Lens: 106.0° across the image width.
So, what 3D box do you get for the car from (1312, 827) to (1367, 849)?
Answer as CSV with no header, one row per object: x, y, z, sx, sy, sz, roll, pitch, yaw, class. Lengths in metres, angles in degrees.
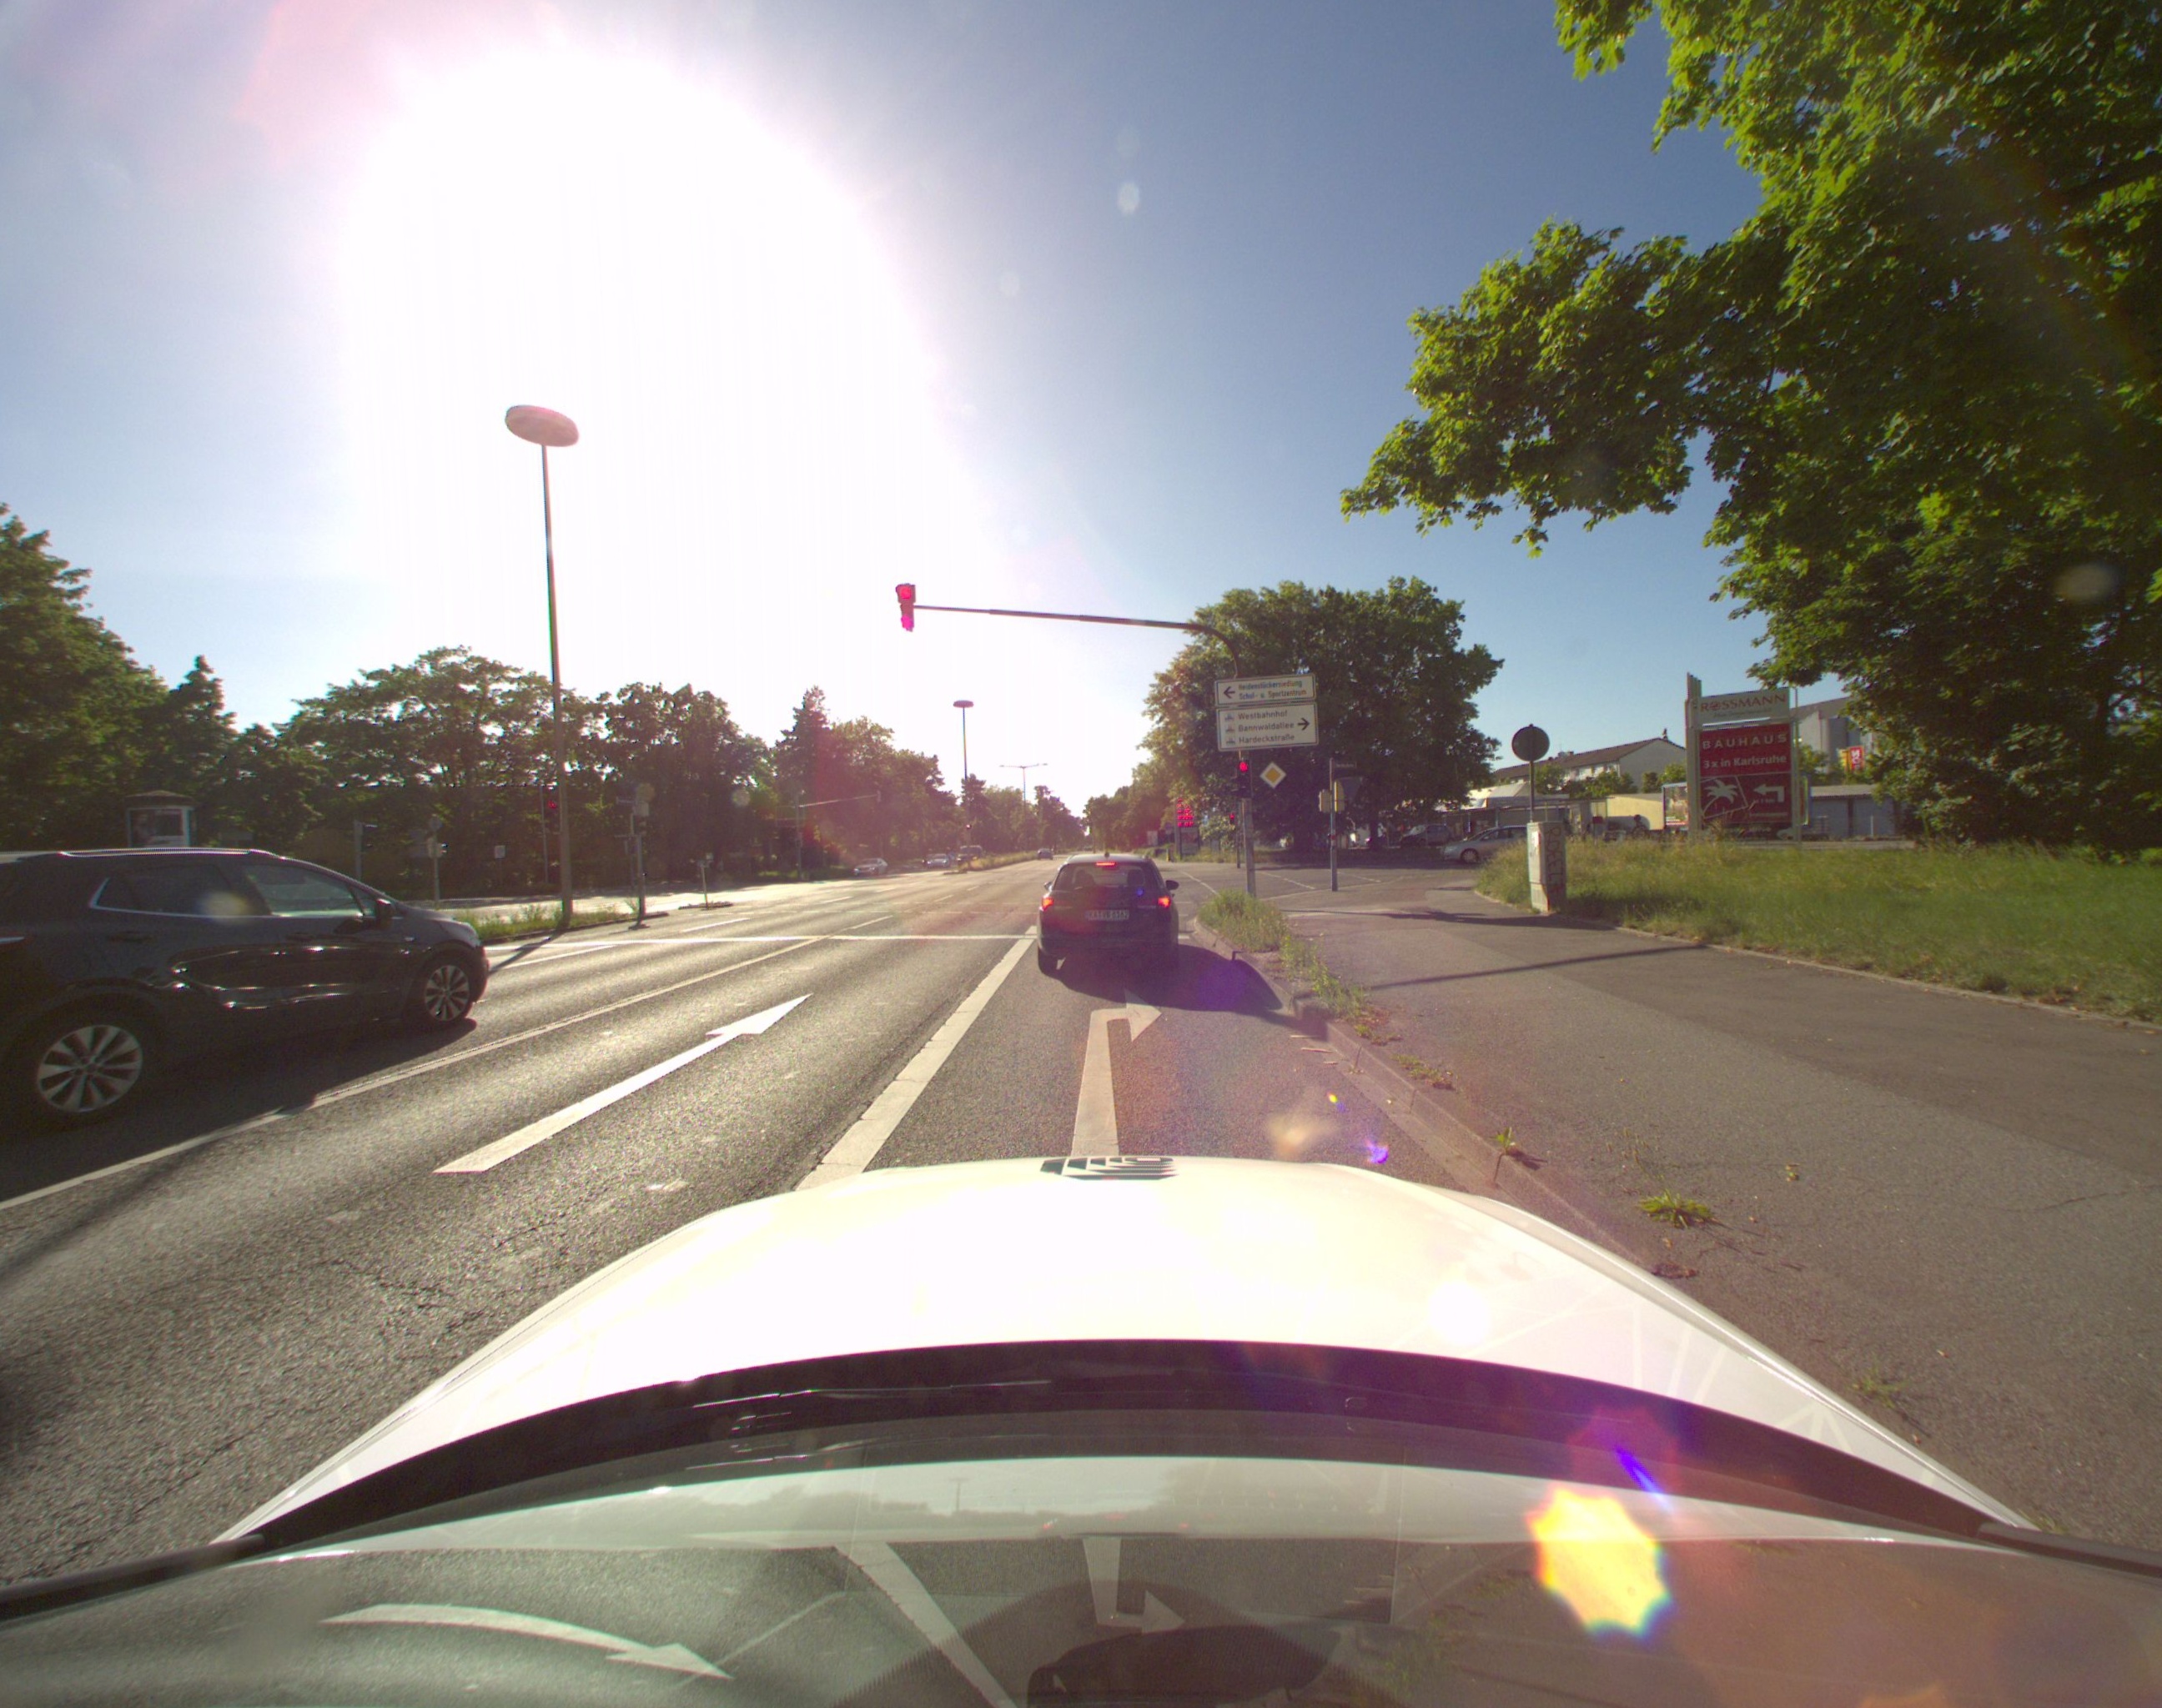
19.333,-1.188,60.910,3.860,1.563,1.787,0,0,-31,car

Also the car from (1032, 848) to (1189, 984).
0.388,0.709,11.182,1.749,1.509,3.809,-1,0,1,car

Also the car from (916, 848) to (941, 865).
-17.624,0.295,94.293,1.986,1.749,4.002,-5,1,1,car

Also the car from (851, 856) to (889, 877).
-17.331,0.980,67.146,1.857,1.684,4.262,0,0,2,car

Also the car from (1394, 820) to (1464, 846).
22.175,-1.300,51.912,3.846,1.611,1.794,0,0,-18,car

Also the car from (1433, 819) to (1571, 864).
16.936,-0.493,32.987,4.587,1.574,2.007,-2,-1,12,car

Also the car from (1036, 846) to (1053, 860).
-4.527,-0.130,101.601,1.882,1.552,4.001,-2,0,1,car

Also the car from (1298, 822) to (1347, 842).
20.500,-1.875,69.141,3.701,1.685,1.703,0,0,-2,car

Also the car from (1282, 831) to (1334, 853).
17.675,-0.936,63.347,3.730,1.685,1.690,0,0,-25,car

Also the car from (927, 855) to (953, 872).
-14.132,0.934,81.817,1.857,1.684,4.001,0,0,2,car

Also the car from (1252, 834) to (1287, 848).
22.206,-1.512,96.047,3.701,1.685,1.703,0,0,-2,car

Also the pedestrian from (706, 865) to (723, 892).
-25.828,1.748,57.335,0.842,1.835,0.550,-3,0,5,pedestrian

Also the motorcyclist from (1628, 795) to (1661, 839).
21.928,-1.424,31.697,0.853,1.680,0.838,0,0,18,motorcyclist

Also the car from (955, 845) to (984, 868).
-10.119,0.247,74.296,1.986,2.013,4.001,0,0,1,car

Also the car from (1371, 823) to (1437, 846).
21.381,-1.264,53.885,3.846,1.482,1.794,0,0,-18,car

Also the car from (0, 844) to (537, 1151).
-6.573,0.789,6.233,1.689,1.632,4.419,-2,0,2,car

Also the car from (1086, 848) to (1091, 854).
2.406,-0.937,258.301,1.726,1.585,3.841,0,0,1,car

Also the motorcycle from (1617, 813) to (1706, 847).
22.446,-0.928,31.561,2.703,1.270,0.838,0,0,17,motorcycle
